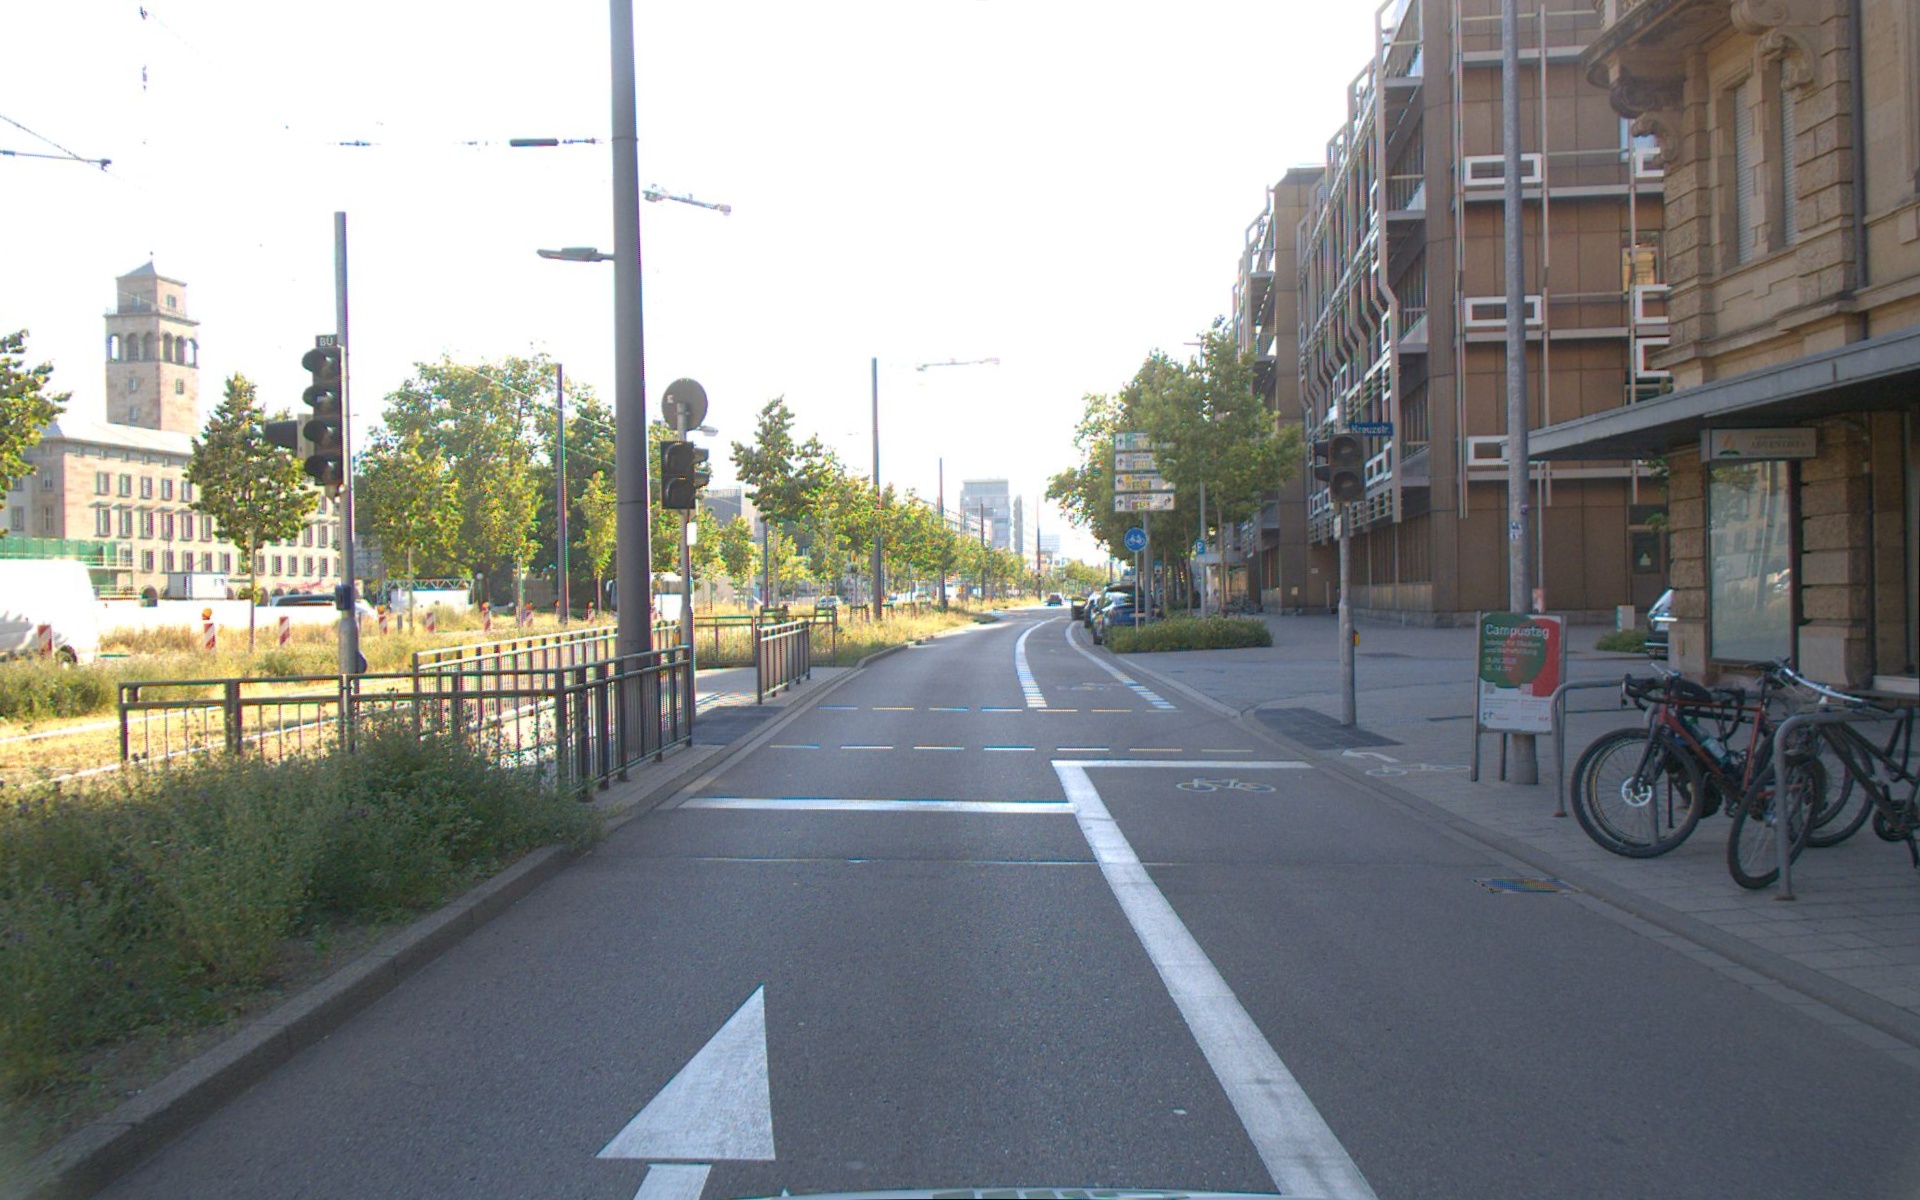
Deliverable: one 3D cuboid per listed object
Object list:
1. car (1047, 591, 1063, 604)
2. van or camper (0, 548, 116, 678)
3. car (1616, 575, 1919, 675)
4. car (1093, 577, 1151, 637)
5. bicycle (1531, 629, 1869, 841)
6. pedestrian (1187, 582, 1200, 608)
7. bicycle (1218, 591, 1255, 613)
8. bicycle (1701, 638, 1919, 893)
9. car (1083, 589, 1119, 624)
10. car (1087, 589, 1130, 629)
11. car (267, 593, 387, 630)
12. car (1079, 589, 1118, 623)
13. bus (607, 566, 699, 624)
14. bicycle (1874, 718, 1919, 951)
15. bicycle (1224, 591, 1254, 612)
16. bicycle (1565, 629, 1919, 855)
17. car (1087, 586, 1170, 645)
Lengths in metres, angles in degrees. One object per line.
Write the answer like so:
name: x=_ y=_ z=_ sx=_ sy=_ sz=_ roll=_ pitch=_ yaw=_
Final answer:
car: x=11.087 y=-0.299 z=193.036 sx=1.739 sy=1.453 sz=4.003 roll=0 pitch=0 yaw=5
van or camper: x=-20.035 y=0.302 z=33.621 sx=2.177 sy=2.553 sz=7.198 roll=-3 pitch=1 yaw=-2
car: x=12.746 y=0.378 z=25.953 sx=4.180 sy=1.475 sz=1.860 roll=0 pitch=-1 yaw=-7
car: x=5.681 y=0.216 z=58.500 sx=1.698 sy=1.952 sz=4.395 roll=-3 pitch=0 yaw=2
bicycle: x=4.372 y=0.789 z=9.841 sx=1.717 sy=1.123 sz=0.507 roll=-3 pitch=0 yaw=3
pedestrian: x=15.584 y=-0.330 z=110.267 sx=0.772 sy=1.677 sz=1.137 roll=-2 pitch=0 yaw=5
bicycle: x=14.864 y=0.102 z=88.906 sx=1.861 sy=1.112 sz=0.392 roll=-2 pitch=0 yaw=-1
bicycle: x=4.561 y=0.763 z=7.973 sx=1.685 sy=1.123 sz=0.507 roll=-3 pitch=0 yaw=3
car: x=7.224 y=0.312 z=85.032 sx=1.692 sy=1.650 sz=4.218 roll=-3 pitch=0 yaw=4
car: x=6.149 y=0.358 z=68.412 sx=1.628 sy=1.516 sz=4.206 roll=-3 pitch=0 yaw=5
car: x=-31.371 y=0.570 z=82.052 sx=5.117 sy=1.747 sz=2.126 roll=-1 pitch=0 yaw=4
car: x=6.636 y=0.267 z=79.215 sx=1.757 sy=1.474 sz=4.379 roll=-3 pitch=0 yaw=5
bus: x=-20.498 y=-0.327 z=111.285 sx=2.740 sy=3.657 sz=12.706 roll=-1 pitch=0 yaw=5
bicycle: x=4.394 y=0.906 z=6.523 sx=1.248 sy=0.892 sz=0.507 roll=-3 pitch=0 yaw=3
bicycle: x=15.461 y=0.098 z=91.538 sx=1.592 sy=1.101 sz=0.393 roll=-2 pitch=0 yaw=7
bicycle: x=4.365 y=0.781 z=9.249 sx=1.717 sy=1.123 sz=0.507 roll=-3 pitch=0 yaw=3
car: x=5.140 y=0.445 z=50.964 sx=1.892 sy=1.626 sz=4.698 roll=-3 pitch=0 yaw=-1
